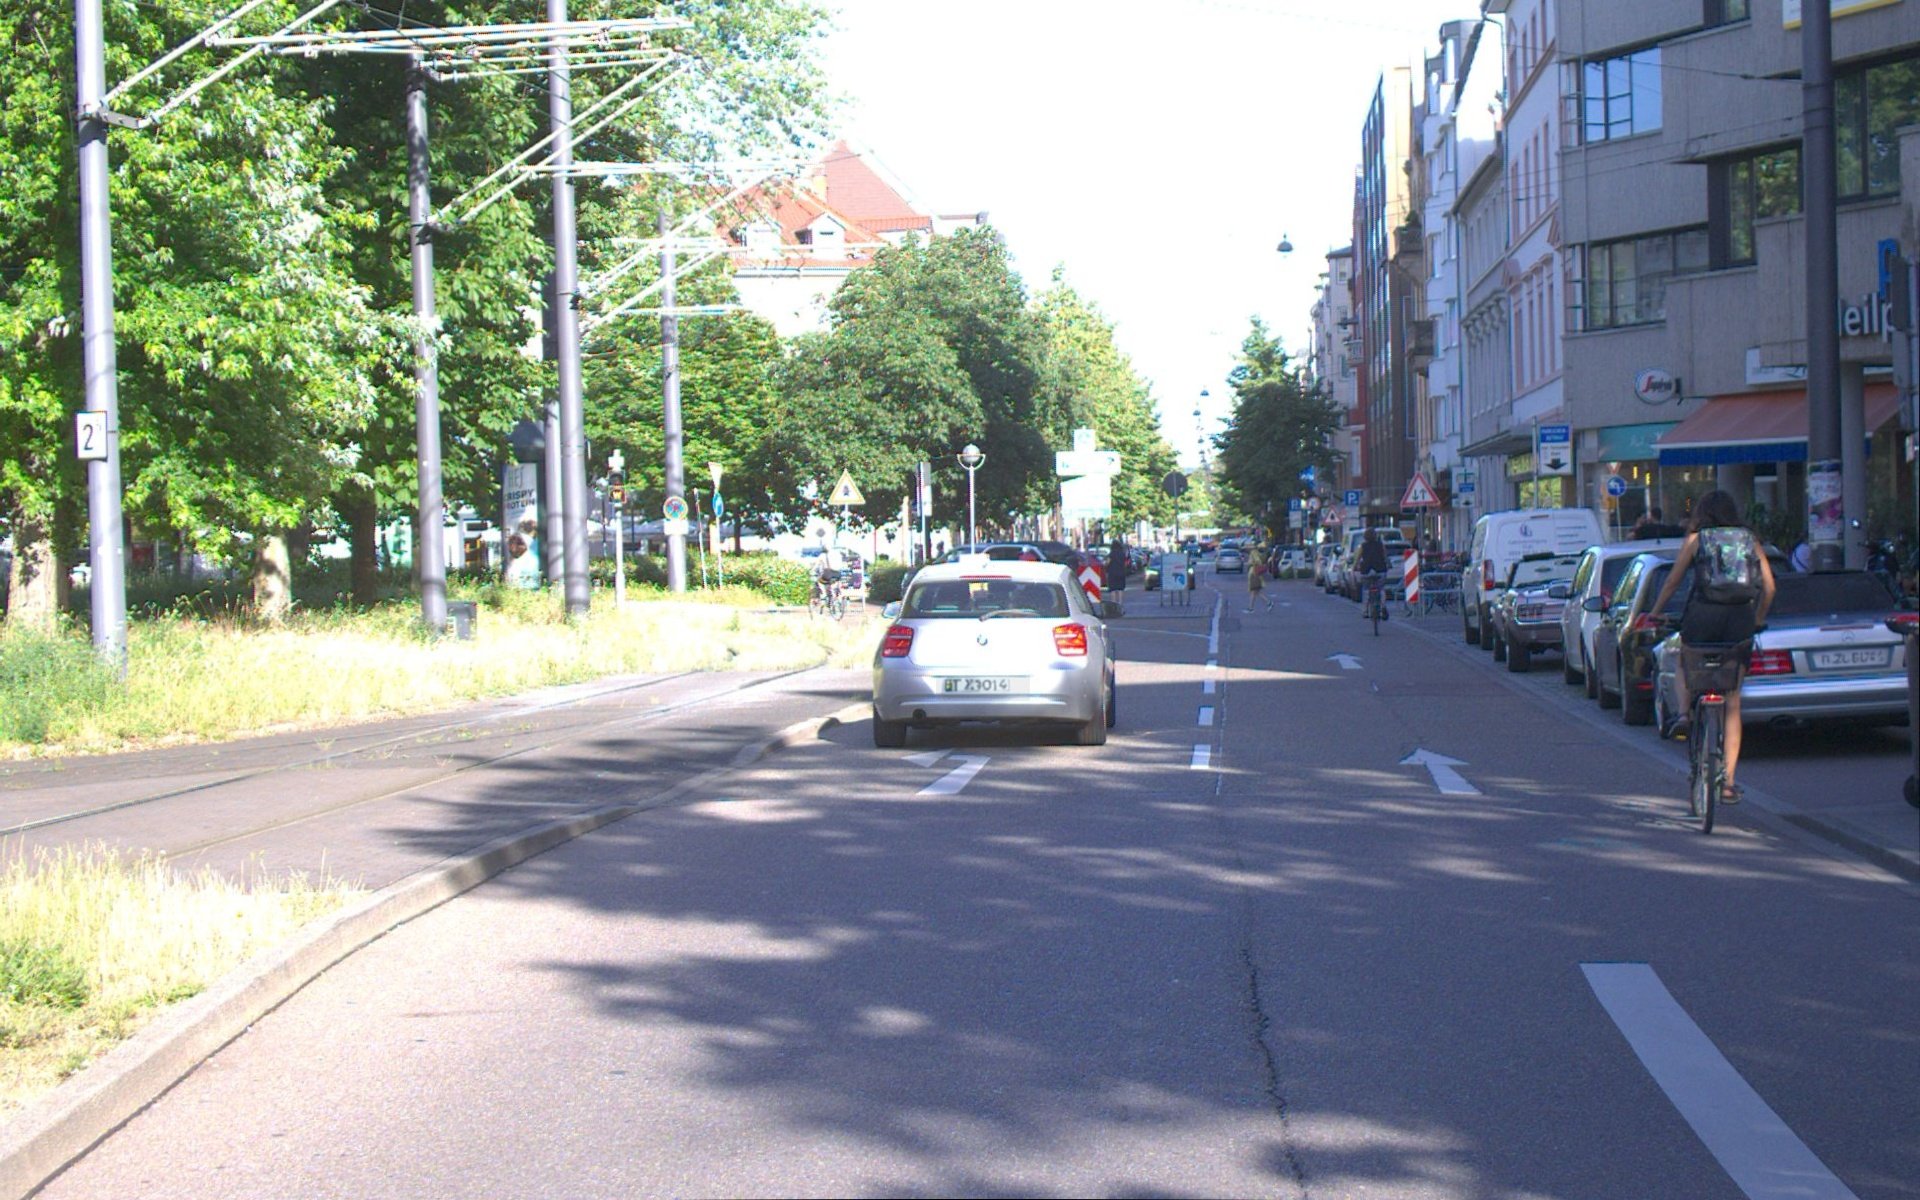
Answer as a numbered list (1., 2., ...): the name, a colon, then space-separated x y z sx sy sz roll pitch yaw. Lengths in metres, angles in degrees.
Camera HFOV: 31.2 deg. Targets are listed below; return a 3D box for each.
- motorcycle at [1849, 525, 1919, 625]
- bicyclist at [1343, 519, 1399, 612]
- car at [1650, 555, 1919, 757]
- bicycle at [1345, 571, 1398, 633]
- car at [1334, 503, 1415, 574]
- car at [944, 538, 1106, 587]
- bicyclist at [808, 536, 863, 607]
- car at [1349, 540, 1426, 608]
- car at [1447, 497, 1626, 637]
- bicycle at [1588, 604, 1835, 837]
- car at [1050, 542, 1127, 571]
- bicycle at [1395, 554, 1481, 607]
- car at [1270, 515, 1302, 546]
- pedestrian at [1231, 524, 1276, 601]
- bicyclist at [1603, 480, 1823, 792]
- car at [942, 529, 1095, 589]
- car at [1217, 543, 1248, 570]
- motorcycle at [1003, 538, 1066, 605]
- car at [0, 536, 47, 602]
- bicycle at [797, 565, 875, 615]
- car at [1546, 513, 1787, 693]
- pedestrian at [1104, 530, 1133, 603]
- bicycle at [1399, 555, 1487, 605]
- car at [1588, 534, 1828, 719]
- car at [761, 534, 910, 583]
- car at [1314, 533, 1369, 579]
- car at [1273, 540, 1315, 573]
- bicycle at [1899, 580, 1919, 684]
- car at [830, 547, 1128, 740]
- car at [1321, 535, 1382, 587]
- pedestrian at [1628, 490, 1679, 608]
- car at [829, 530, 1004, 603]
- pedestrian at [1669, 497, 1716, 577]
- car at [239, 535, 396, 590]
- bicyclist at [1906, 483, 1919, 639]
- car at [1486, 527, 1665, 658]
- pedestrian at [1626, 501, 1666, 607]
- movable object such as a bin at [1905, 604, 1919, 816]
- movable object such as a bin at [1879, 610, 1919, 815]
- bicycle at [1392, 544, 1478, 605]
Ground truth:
1. motorcycle: 11.301 -0.290 42.046 0.764 1.151 2.046 -3 -1 14
2. bicyclist: 6.483 -0.543 54.263 0.786 1.448 1.095 0 0 3
3. car: 6.196 0.377 25.216 1.852 1.339 4.598 0 0 7
4. bicycle: 6.473 0.035 54.156 0.652 0.955 2.698 0 0 3
5. car: 12.114 -1.795 100.718 1.994 1.998 5.117 -1 1 3
6. car: 2.068 -1.181 109.231 4.833 1.483 1.765 0 0 -19
7. bicyclist: -2.683 -0.608 74.090 0.928 1.502 0.825 0 0 -23
8. car: 11.197 -0.669 90.329 1.745 1.733 4.959 0 0 4
9. car: 7.812 -0.429 46.915 1.994 1.806 4.309 0 0 4
10. bicycle: 4.078 0.617 18.539 0.821 1.181 1.961 0 0 27
11. car: 6.815 -2.322 181.989 3.988 1.503 1.894 0 0 5
12. bicycle: 9.637 -0.393 69.282 1.681 1.058 0.343 0 0 21
13. car: 21.711 -4.635 228.760 1.994 2.007 4.000 0 1 4
14. pedestrian: 6.485 -0.830 75.940 0.668 1.693 0.805 0 0 -27
15. bicyclist: 4.074 0.188 18.565 0.940 1.628 0.934 0 0 28
16. car: 1.643 -1.158 97.747 3.986 1.662 2.001 0 1 -11
17. car: 16.537 -2.644 208.563 1.870 1.550 3.999 0 0 5
18. motorcycle: 1.551 -0.584 71.604 0.745 1.369 1.761 0 0 -19
19. car: -34.828 -1.093 120.442 5.334 2.306 2.001 0 0 -18
20. bicycle: -2.688 -0.208 74.091 0.809 1.065 2.583 0 0 -23
21. car: 6.983 0.030 34.311 1.851 1.683 3.866 0 0 4
22. pedestrian: 3.634 -0.771 78.634 0.636 1.666 0.692 0 0 5
23. bicycle: 9.780 -0.404 69.638 1.705 1.001 0.427 0 0 21
24. car: 6.528 0.217 30.353 1.671 1.513 4.198 0 0 7
25. car: -4.748 -1.560 131.449 5.262 1.794 2.164 0 0 -22
26. car: 14.569 -1.668 131.464 1.899 1.669 4.824 0 0 4
27. car: 16.773 -2.179 172.518 1.994 1.612 4.009 1 0 7
28. bicycle: 8.468 0.277 28.890 0.534 0.888 2.070 0 0 -2
29. car: 0.238 0.321 27.498 1.994 1.418 4.196 0 0 6
30. car: 12.539 -1.243 110.191 1.718 1.510 3.582 -3 0 4
31. pedestrian: 11.147 -0.819 55.289 0.671 1.850 0.610 -3 -1 8
32. car: -1.062 -0.821 84.459 3.857 1.676 1.812 -1 0 -27
33. pedestrian: 11.791 -1.012 55.323 0.630 1.232 0.624 -3 -1 8
34. car: -24.224 -1.399 129.624 5.574 2.007 1.818 0 0 -22
35. bicyclist: 8.478 -0.327 28.876 0.758 1.322 0.994 0 0 -2
36. car: 7.198 -0.080 40.583 1.774 1.449 4.729 0 0 7
37. pedestrian: 11.183 -0.748 56.081 0.584 1.708 0.697 0 0 7
38. movable object such as a bin: 5.288 0.574 17.869 0.610 1.102 0.526 0 0 1
39. movable object such as a bin: 5.310 0.596 18.462 0.592 1.080 0.604 0 0 1
40. bicycle: 9.822 -0.529 71.102 1.623 1.239 0.658 0 0 25
